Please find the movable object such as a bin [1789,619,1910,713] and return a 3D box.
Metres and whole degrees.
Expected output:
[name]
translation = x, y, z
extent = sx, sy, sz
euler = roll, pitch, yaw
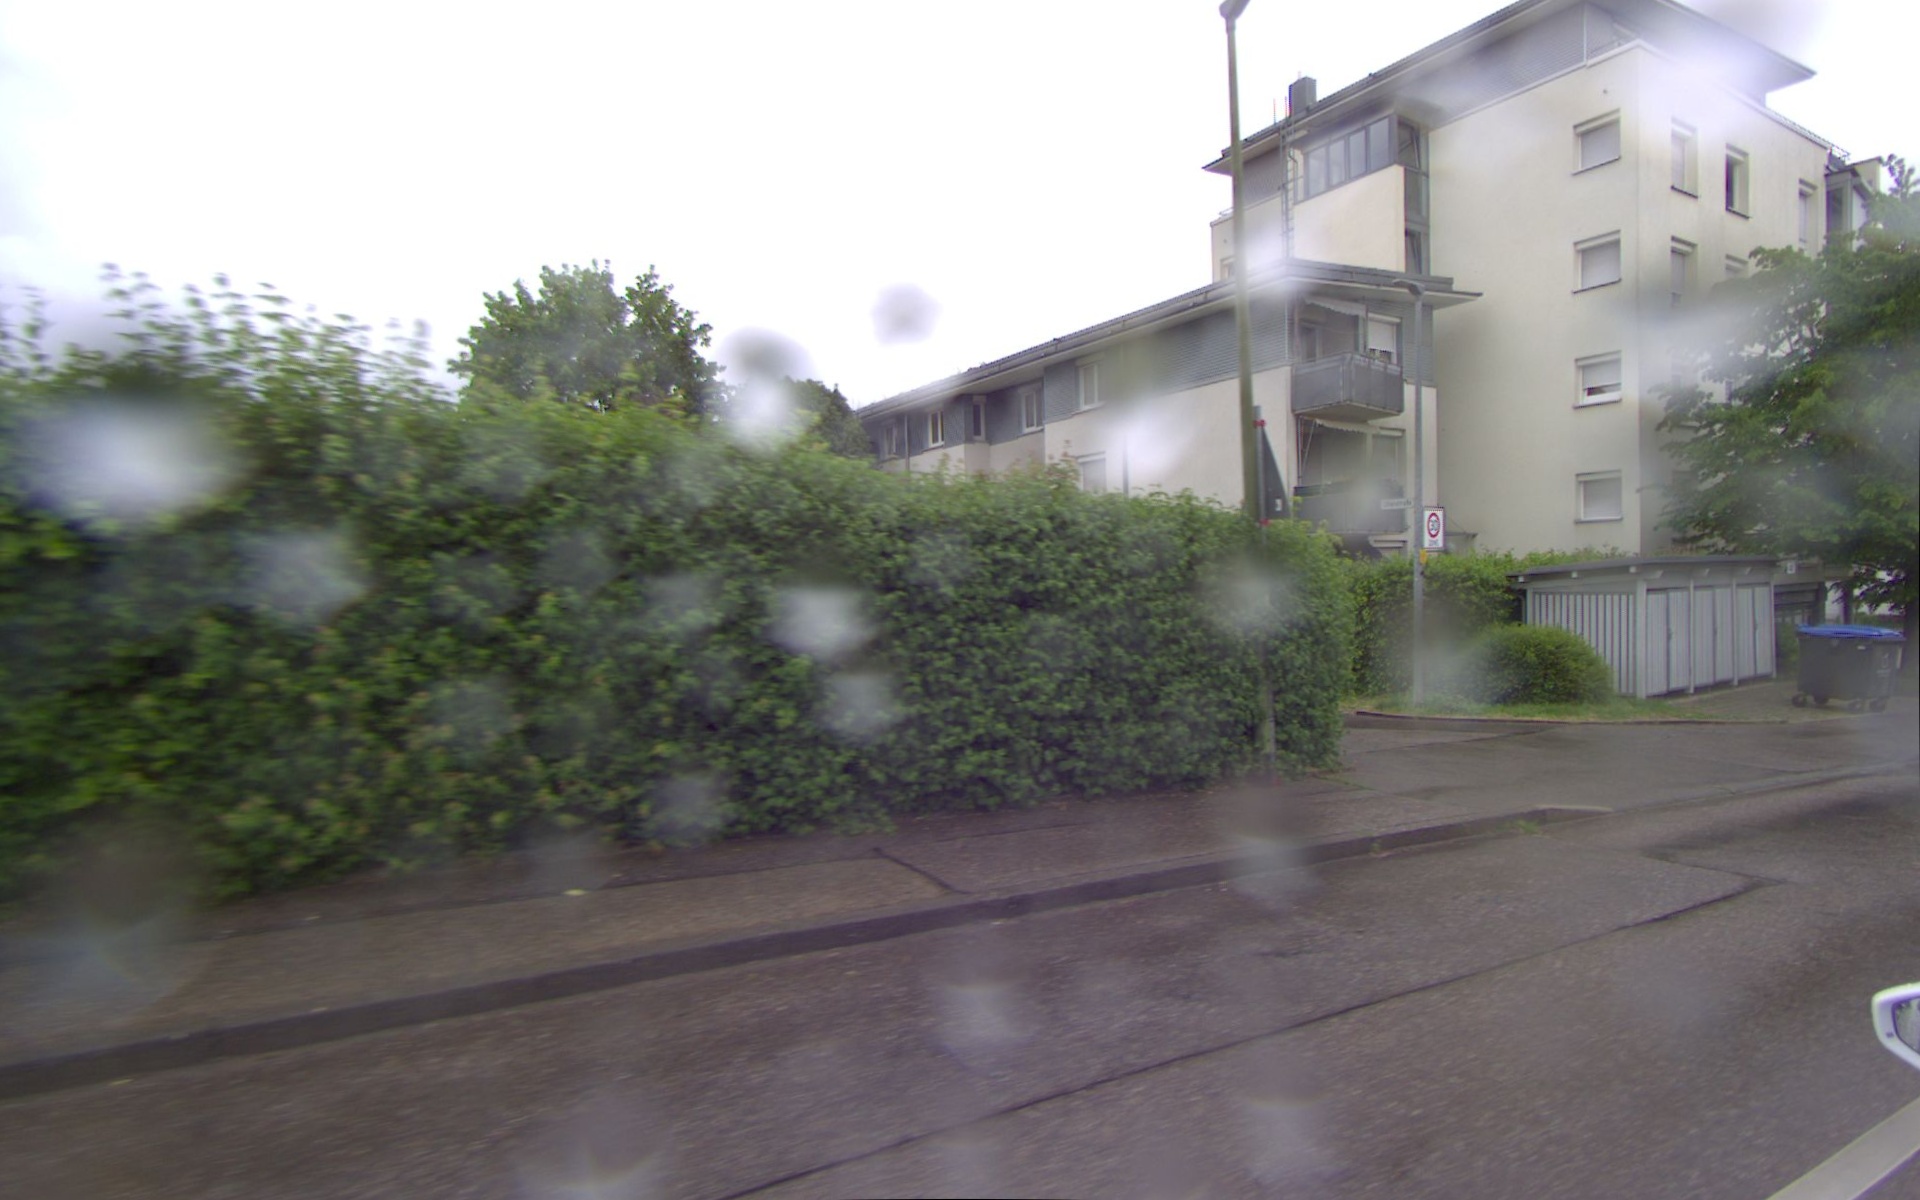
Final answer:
[movable object such as a bin]
translation = 14.093, 1.015, 15.921
extent = 1.304, 1.365, 1.065
euler = 1, 1, -32
